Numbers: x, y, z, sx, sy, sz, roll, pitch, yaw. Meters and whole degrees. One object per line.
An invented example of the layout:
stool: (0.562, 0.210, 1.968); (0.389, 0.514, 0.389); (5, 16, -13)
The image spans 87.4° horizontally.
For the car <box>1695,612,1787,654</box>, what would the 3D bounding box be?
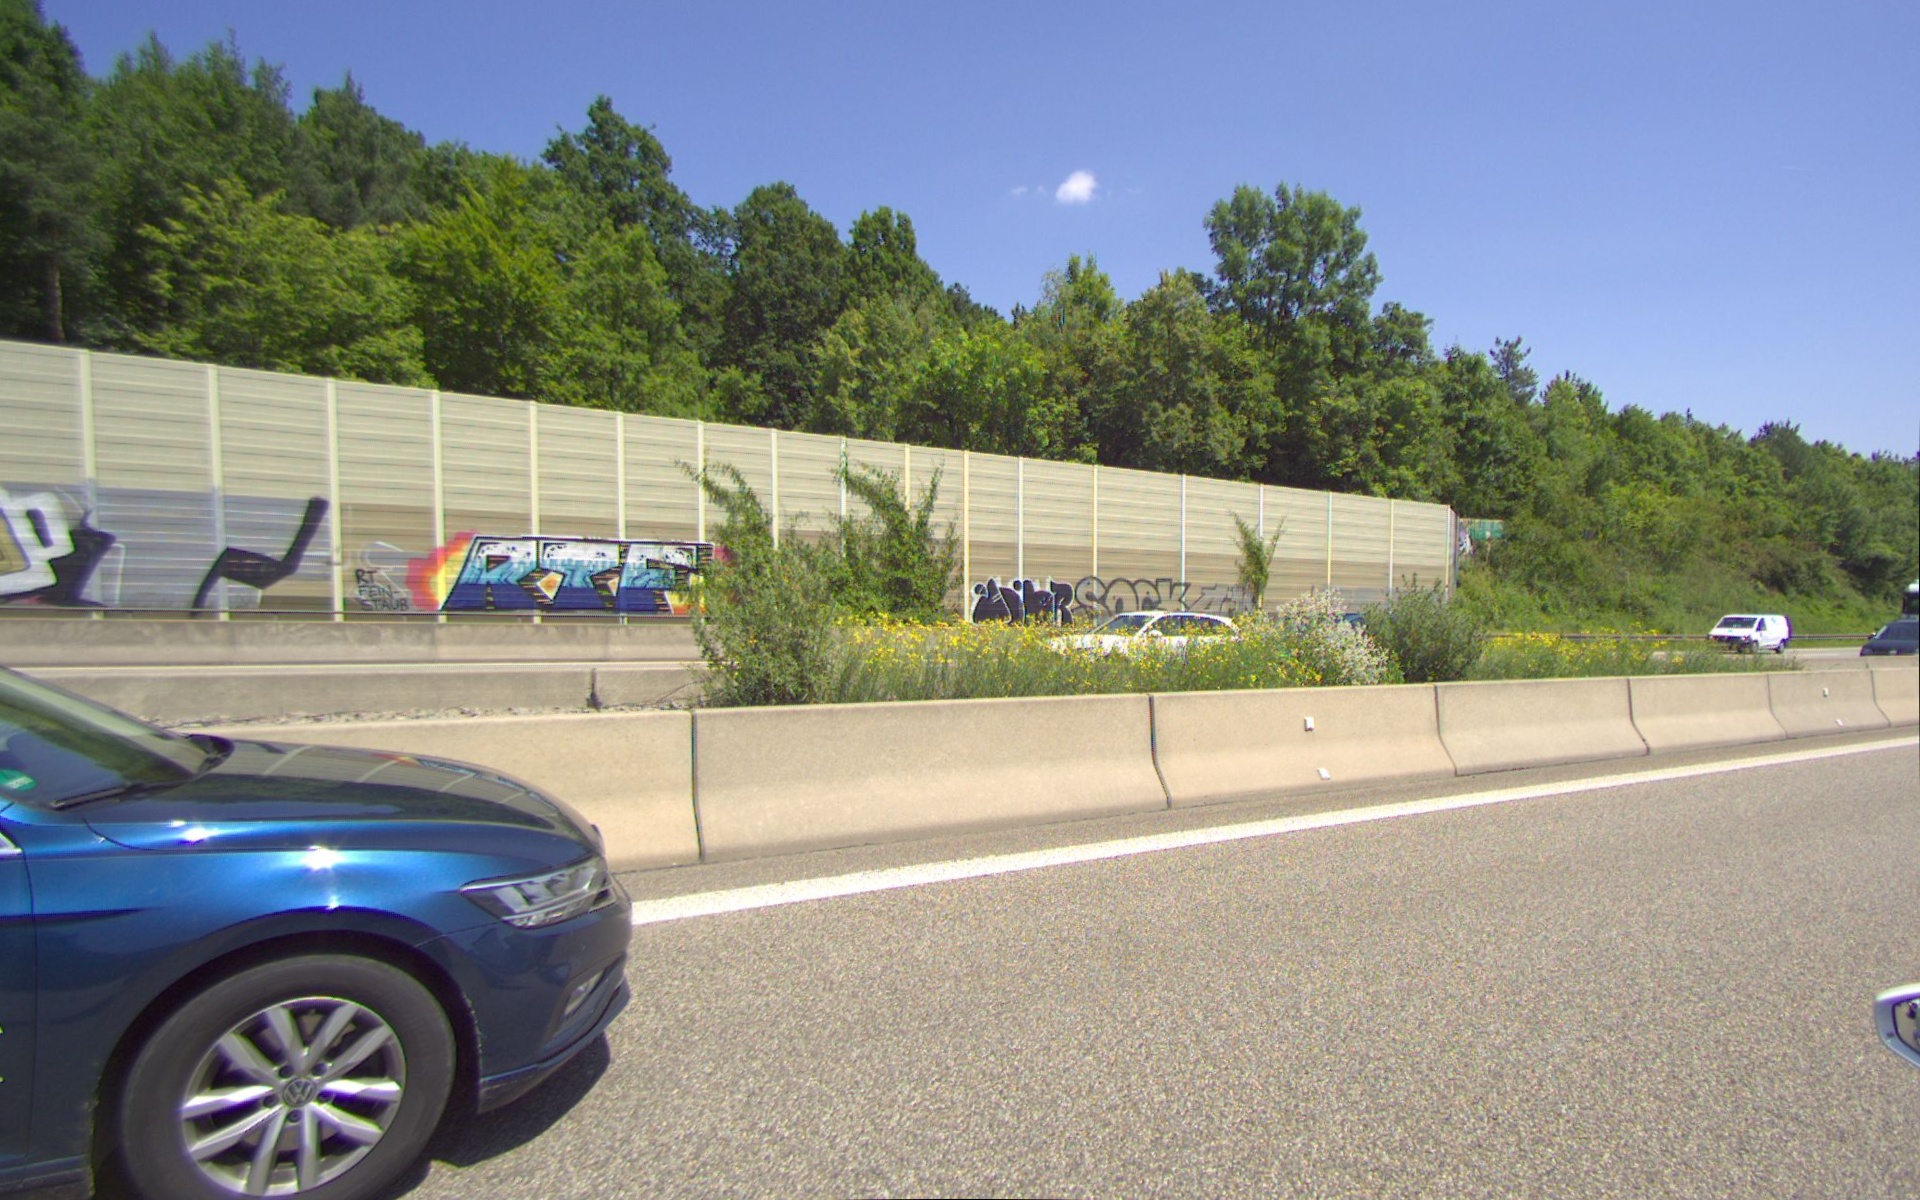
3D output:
car: (38.313, 1.619, 49.254); (5.246, 1.892, 1.910); (2, 0, -33)

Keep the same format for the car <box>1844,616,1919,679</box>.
car: (28.389, 1.388, 29.970); (4.605, 1.721, 1.675); (2, 0, -31)

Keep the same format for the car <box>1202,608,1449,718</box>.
car: (5.681, 0.921, 15.534); (3.710, 1.487, 1.608); (2, 0, -31)

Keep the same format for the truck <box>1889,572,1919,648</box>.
truck: (53.522, 0.650, 54.512); (7.237, 3.960, 2.796); (2, 0, -33)

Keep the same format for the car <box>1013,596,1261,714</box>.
car: (3.321, 0.992, 18.554); (4.453, 1.947, 1.728); (2, 0, -31)

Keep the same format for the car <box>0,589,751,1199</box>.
car: (-3.030, 0.687, 2.345); (4.675, 1.447, 1.724); (2, 0, -30)

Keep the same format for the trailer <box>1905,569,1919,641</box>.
trailer: (58.634, 0.501, 57.913); (13.677, 3.960, 2.797); (2, 0, -33)
